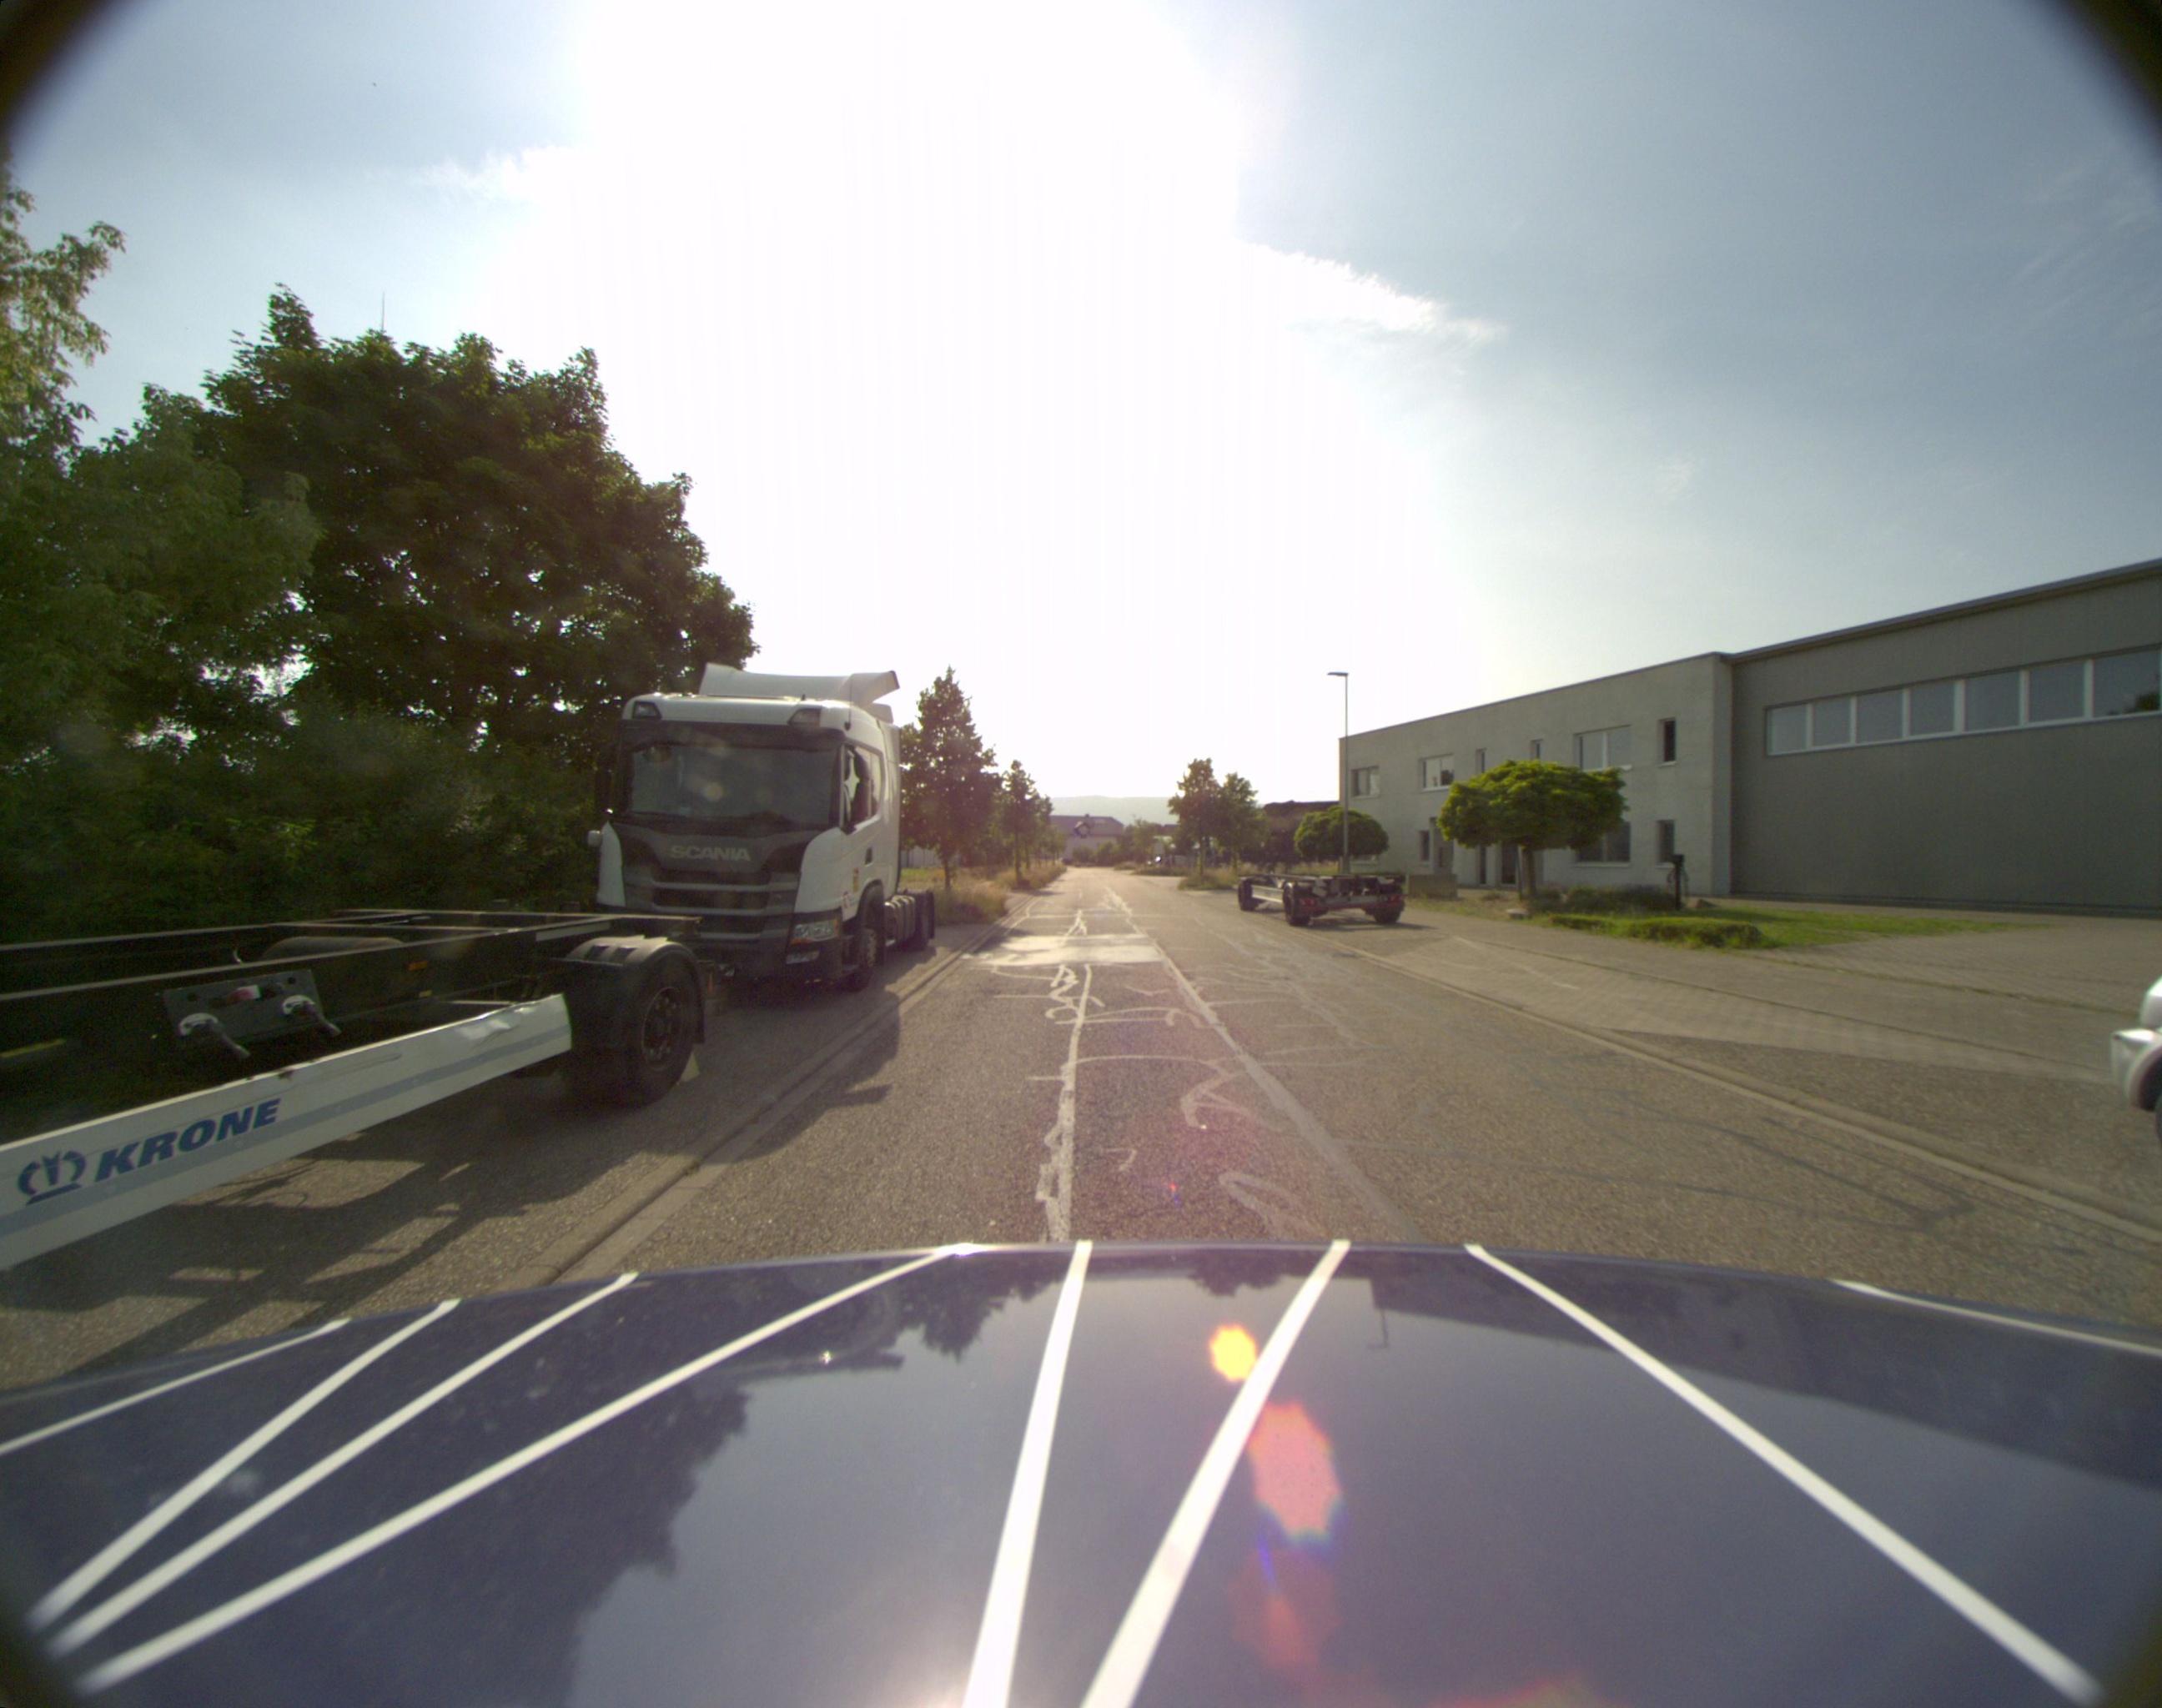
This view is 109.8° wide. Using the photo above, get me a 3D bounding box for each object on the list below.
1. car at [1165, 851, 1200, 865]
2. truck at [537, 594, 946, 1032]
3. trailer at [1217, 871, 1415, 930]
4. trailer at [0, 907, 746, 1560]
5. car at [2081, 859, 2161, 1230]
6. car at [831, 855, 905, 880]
[{"bbox_3d":[12.223,0.489,91.371,3.997,1.718,2.000,0,0,1],"label":"car"},{"bbox_3d":[-3.675,-0.354,10.054,2.699,3.941,6.047,2,0,-2],"label":"truck"},{"bbox_3d":[5.932,1.114,21.240,2.552,1.068,9.732,-2,0,0],"label":"trailer"},{"bbox_3d":[-3.499,1.021,1.941,1.943,1.228,7.451,2,0,0],"label":"trailer"},{"bbox_3d":[5.585,0.821,1.808,1.601,1.641,3.644,-1,0,0],"label":"car"},{"bbox_3d":[-14.176,0.891,50.659,4.369,1.554,1.753,1,2,-42],"label":"car"}]
